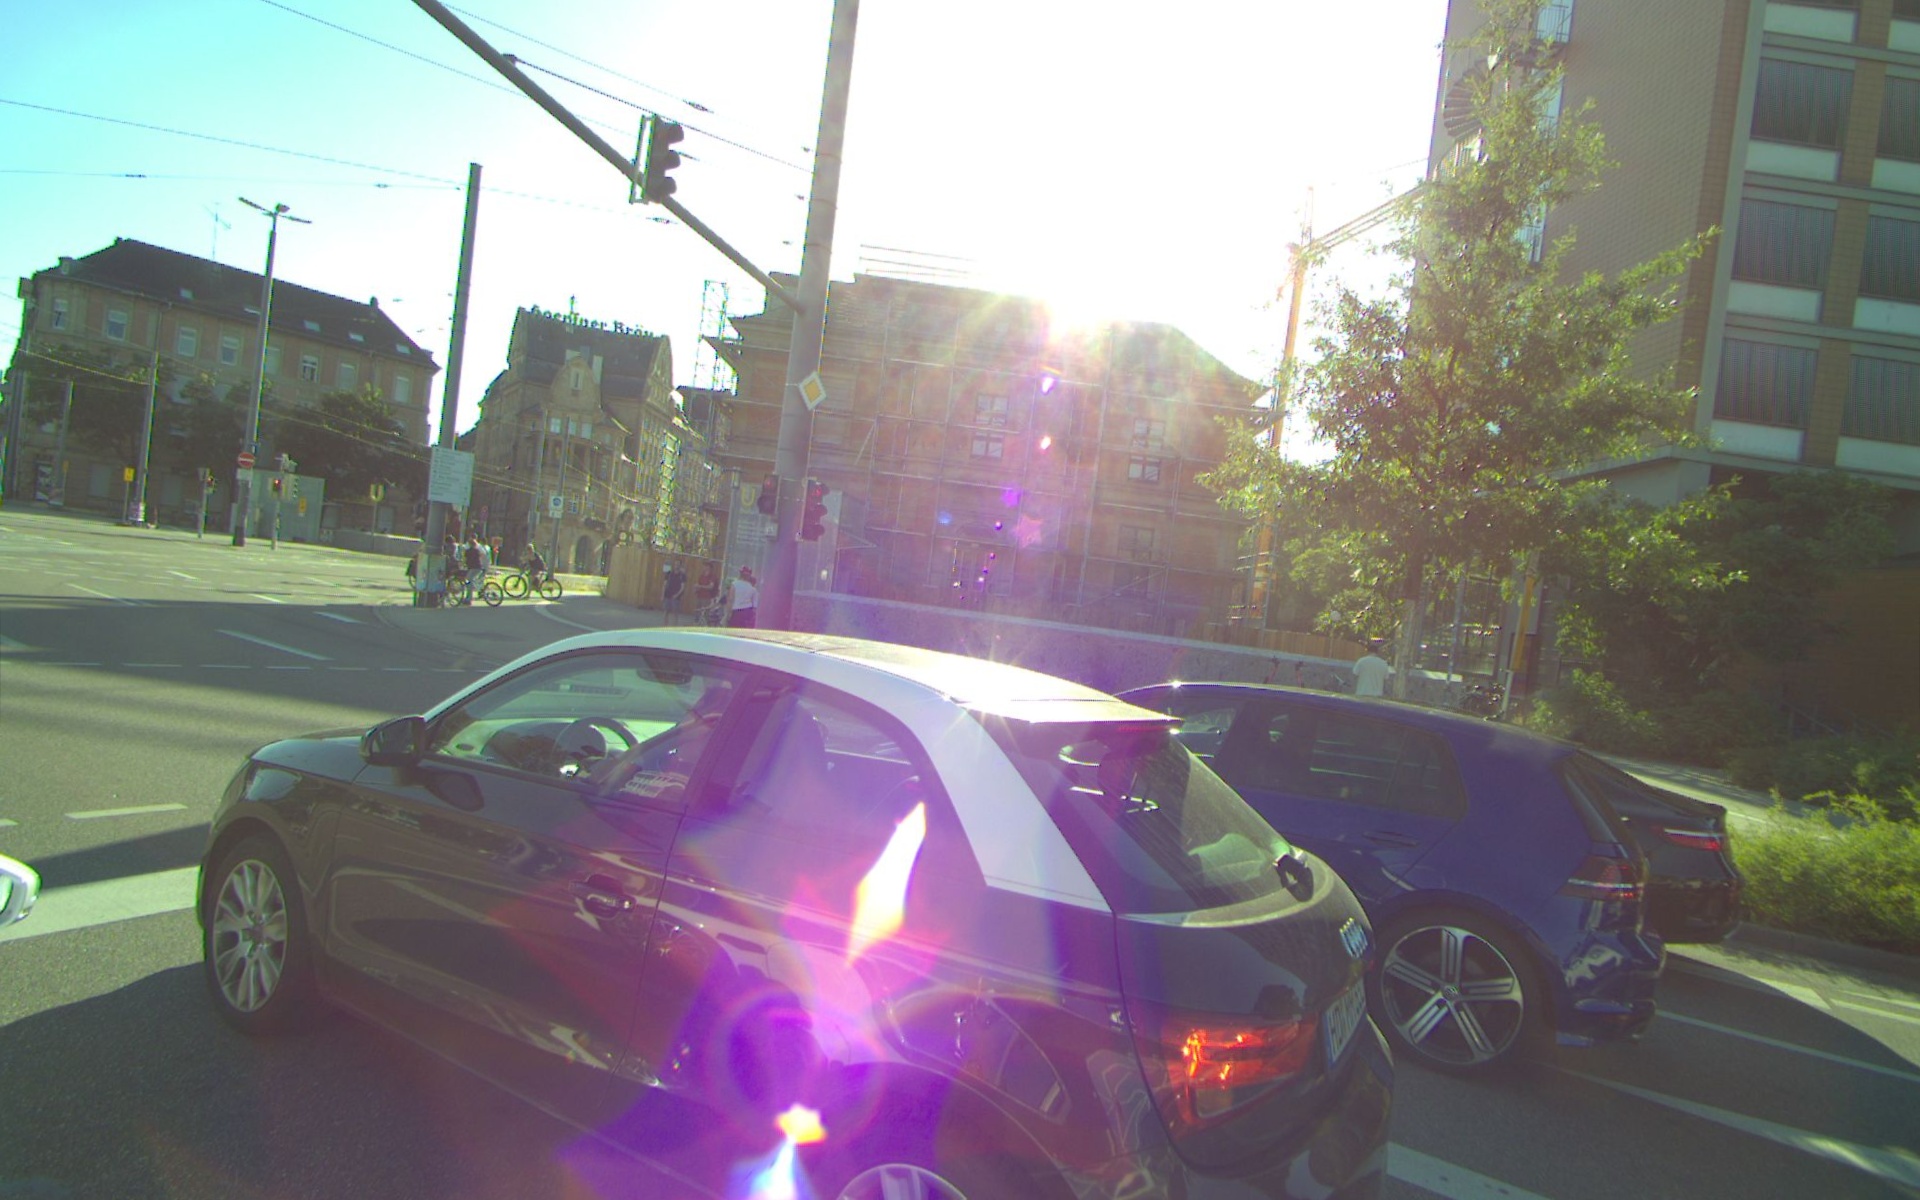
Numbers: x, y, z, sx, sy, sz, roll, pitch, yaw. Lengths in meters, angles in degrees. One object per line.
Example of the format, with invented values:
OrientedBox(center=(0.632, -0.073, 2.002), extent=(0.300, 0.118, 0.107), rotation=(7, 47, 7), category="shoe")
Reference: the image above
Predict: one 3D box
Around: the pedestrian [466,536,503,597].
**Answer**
OrientedBox(center=(-16.220, -1.136, 34.298), extent=(0.678, 1.945, 0.649), rotation=(7, -1, 25), category="pedestrian")

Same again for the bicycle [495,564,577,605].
OrientedBox(center=(-13.360, -0.492, 31.726), extent=(2.289, 1.063, 0.532), rotation=(5, 2, -25), category="bicycle")

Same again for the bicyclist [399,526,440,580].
OrientedBox(center=(-16.852, -1.464, 31.361), extent=(0.930, 1.575, 0.516), rotation=(7, -1, 23), category="bicyclist")

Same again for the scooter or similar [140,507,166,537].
OrientedBox(center=(-42.076, -4.070, 52.431), extent=(0.784, 1.392, 1.885), rotation=(8, -2, -44), category="scooter or similar")

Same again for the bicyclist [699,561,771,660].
OrientedBox(center=(-3.843, 0.185, 17.208), extent=(0.781, 1.571, 0.668), rotation=(7, -1, 27), category="bicyclist")

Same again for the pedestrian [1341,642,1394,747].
OrientedBox(center=(6.860, 1.569, 16.938), extent=(0.592, 1.662, 0.677), rotation=(7, 3, 29), category="pedestrian")

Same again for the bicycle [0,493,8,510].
OrientedBox(center=(-58.428, -6.057, 60.449), extent=(1.572, 0.963, 0.659), rotation=(8, -1, -5), category="bicycle")

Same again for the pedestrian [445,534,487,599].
OrientedBox(center=(-16.488, -1.122, 33.557), extent=(0.748, 2.037, 0.733), rotation=(7, -1, 25), category="pedestrian")

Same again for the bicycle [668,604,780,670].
OrientedBox(center=(-4.375, 0.677, 18.588), extent=(1.999, 0.976, 0.659), rotation=(6, 2, 27), category="bicycle")

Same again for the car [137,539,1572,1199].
OrientedBox(center=(-0.562, 0.764, 2.994), extent=(3.934, 1.420, 1.627), rotation=(6, -2, 32), category="car")

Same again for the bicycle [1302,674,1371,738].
OrientedBox(center=(7.003, 1.962, 18.736), extent=(0.352, 1.015, 1.149), rotation=(8, -2, -29), category="bicycle")

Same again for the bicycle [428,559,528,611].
OrientedBox(center=(-12.691, -0.394, 26.503), extent=(2.276, 1.061, 0.702), rotation=(7, -1, 8), category="bicycle")

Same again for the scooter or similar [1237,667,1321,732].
OrientedBox(center=(5.905, 1.828, 18.630), extent=(1.348, 1.007, 0.342), rotation=(7, -1, 25), category="scooter or similar")

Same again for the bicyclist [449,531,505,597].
OrientedBox(center=(-12.730, -0.950, 26.518), extent=(0.929, 1.575, 0.711), rotation=(7, -1, 7), category="bicyclist")

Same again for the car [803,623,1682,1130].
OrientedBox(center=(1.270, 1.100, 5.355), extent=(3.934, 1.420, 1.627), rotation=(6, -2, 32), category="car")

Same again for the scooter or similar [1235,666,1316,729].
OrientedBox(center=(6.045, 1.869, 19.332), extent=(1.346, 1.007, 0.343), rotation=(7, -1, 13), category="scooter or similar")

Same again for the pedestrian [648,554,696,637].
OrientedBox(center=(-6.670, -0.103, 23.321), extent=(0.672, 1.830, 0.672), rotation=(7, 2, 11), category="pedestrian")

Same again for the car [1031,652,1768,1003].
OrientedBox(center=(2.958, 1.408, 7.480), extent=(4.436, 1.420, 1.727), rotation=(6, -2, 31), category="car")

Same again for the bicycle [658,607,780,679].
OrientedBox(center=(-4.160, 0.730, 17.307), extent=(1.999, 0.974, 0.660), rotation=(6, -1, 27), category="bicycle")

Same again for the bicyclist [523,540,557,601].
OrientedBox(center=(-13.262, -0.916, 31.745), extent=(0.785, 1.800, 0.520), rotation=(8, -1, -23), category="bicyclist")

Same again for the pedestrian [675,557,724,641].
OrientedBox(center=(-5.995, -0.019, 23.164), extent=(0.672, 1.828, 0.672), rotation=(7, -1, 11), category="pedestrian")

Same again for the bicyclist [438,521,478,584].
OrientedBox(center=(-12.597, -1.182, 25.251), extent=(0.703, 1.456, 0.940), rotation=(8, -1, -29), category="bicyclist")

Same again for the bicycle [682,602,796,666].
OrientedBox(center=(-4.327, 0.665, 19.789), extent=(1.997, 0.976, 0.660), rotation=(7, 2, 5), category="bicycle")

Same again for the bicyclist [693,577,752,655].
OrientedBox(center=(-4.391, 0.297, 18.612), extent=(0.662, 1.330, 0.617), rotation=(7, -1, 27), category="bicyclist")

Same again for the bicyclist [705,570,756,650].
OrientedBox(center=(-4.518, 0.213, 19.803), extent=(0.661, 1.471, 0.618), rotation=(7, -1, 3), category="bicyclist")

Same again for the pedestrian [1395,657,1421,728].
OrientedBox(center=(11.461, 2.354, 25.733), extent=(0.369, 1.752, 0.444), rotation=(7, -1, 17), category="pedestrian")

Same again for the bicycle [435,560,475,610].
OrientedBox(center=(-12.650, -0.397, 25.180), extent=(0.693, 1.061, 2.303), rotation=(9, -1, -29), category="bicycle")

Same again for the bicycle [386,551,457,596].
OrientedBox(center=(-16.756, -0.826, 31.268), extent=(2.278, 1.061, 0.536), rotation=(8, -1, 24), category="bicycle")
